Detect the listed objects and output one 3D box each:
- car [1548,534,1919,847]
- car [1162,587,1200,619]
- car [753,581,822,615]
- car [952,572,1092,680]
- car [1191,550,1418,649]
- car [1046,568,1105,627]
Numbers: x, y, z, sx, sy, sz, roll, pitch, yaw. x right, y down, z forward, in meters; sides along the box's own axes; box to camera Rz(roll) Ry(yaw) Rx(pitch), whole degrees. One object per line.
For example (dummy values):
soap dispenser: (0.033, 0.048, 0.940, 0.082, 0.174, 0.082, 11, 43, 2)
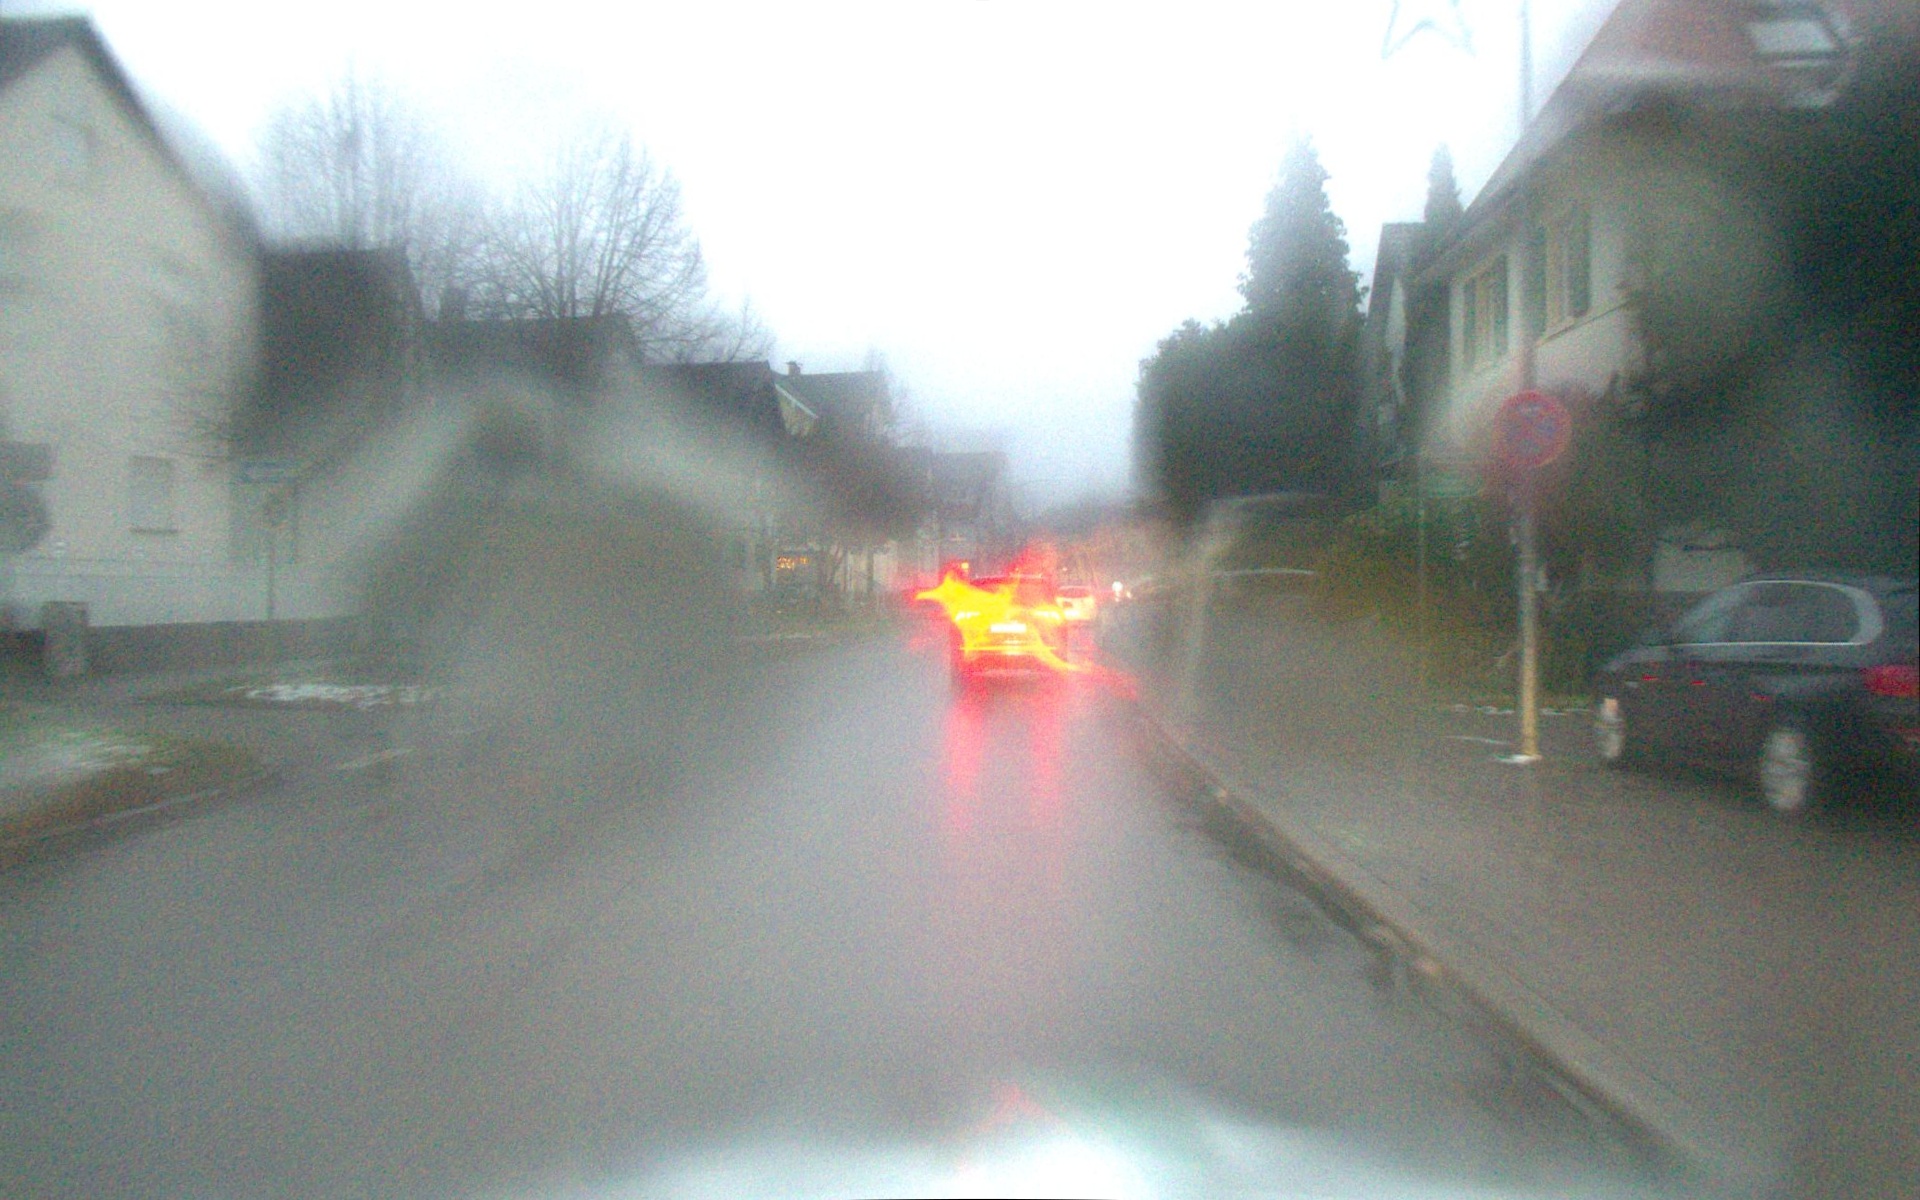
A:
car: (5.585, 0.426, 10.748, 1.854, 1.581, 4.756, 0, 1, 0)
car: (11.232, 0.140, 83.902, 1.614, 1.567, 3.393, 2, 1, 12)
car: (-7.369, -0.089, 71.048, 1.744, 1.390, 4.003, 1, 0, 13)
car: (0.889, 0.356, 25.980, 1.953, 1.552, 3.999, 0, 1, -1)
car: (7.052, -0.022, 34.176, 4.234, 1.762, 2.000, -3, 1, 0)
car: (4.236, -0.106, 60.113, 1.951, 2.049, 4.003, 1, 0, 7)
